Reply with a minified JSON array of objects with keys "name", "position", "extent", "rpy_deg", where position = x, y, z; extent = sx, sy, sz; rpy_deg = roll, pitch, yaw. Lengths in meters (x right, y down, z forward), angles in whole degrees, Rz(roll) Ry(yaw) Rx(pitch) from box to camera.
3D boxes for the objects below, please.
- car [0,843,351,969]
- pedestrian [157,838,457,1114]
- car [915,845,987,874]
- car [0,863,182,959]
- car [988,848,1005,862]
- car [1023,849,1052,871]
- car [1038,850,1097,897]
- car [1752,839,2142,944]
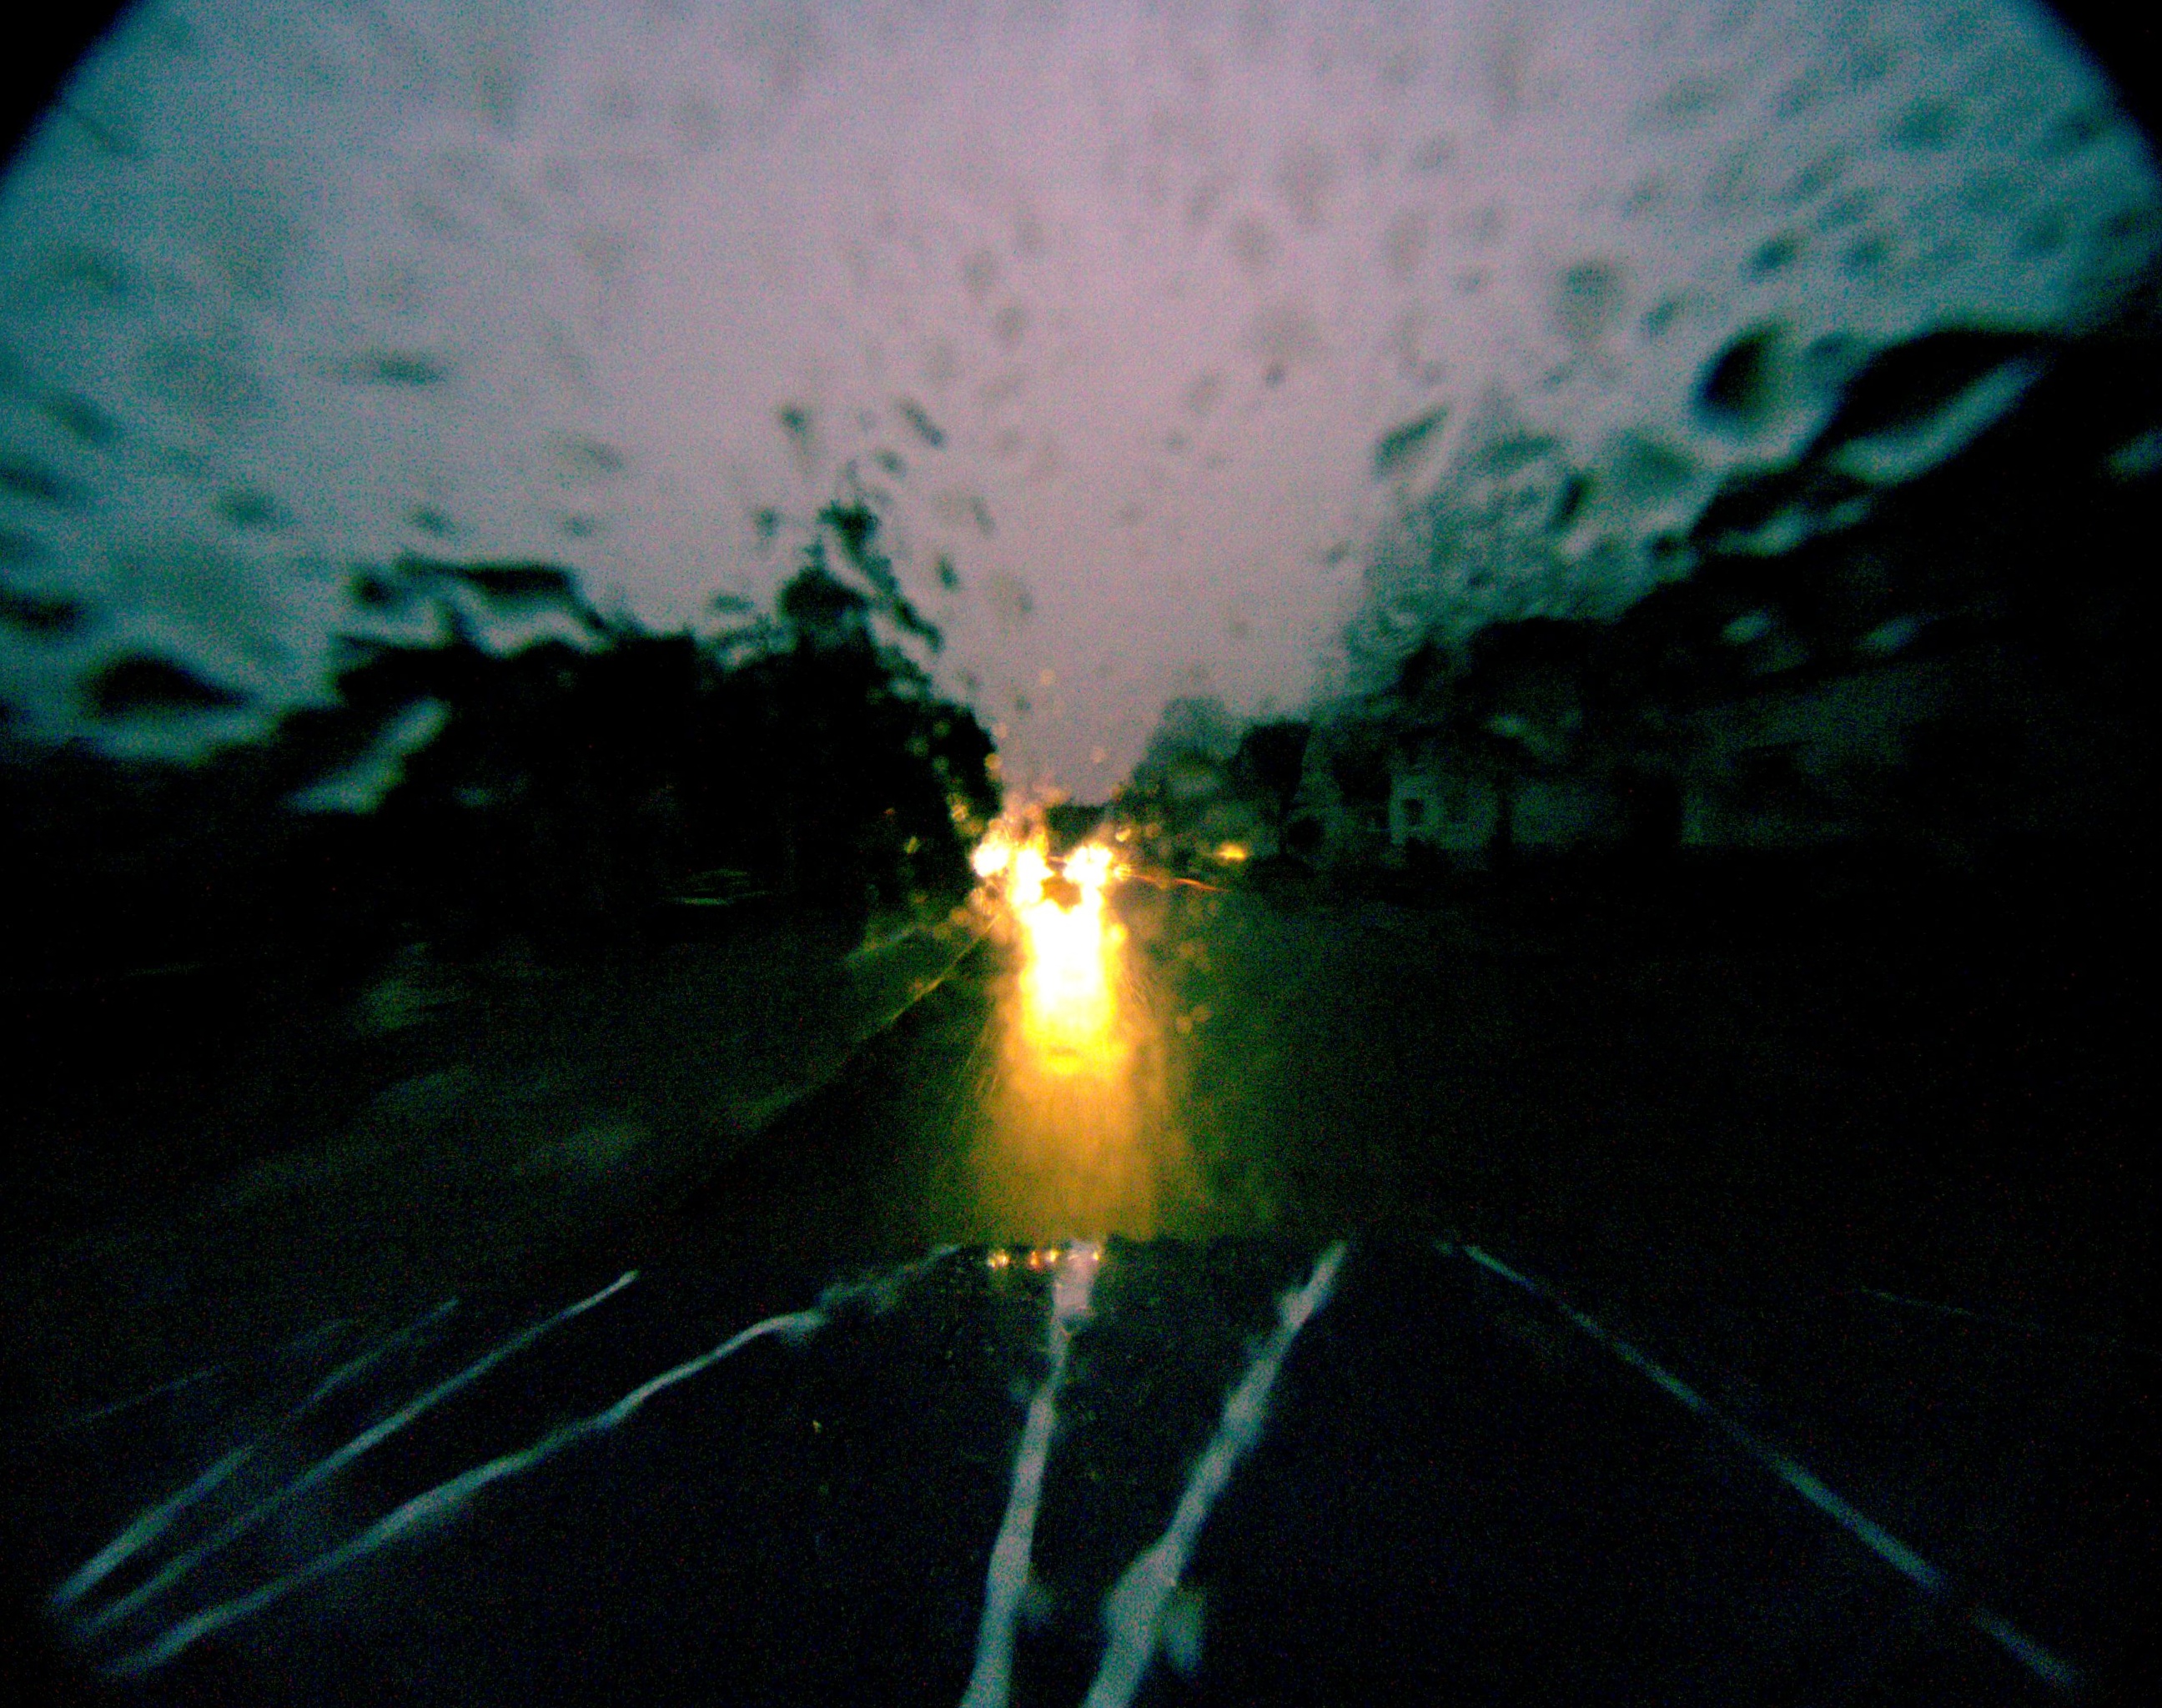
[{"name":"car","position":[-14.554,0.664,12.130],"extent":[1.947,1.653,4.227],"rpy_deg":[-1,1,-6]},{"name":"pedestrian","position":[-5.295,0.763,5.305],"extent":[0.990,1.732,1.056],"rpy_deg":[1,1,0]},{"name":"car","position":[-8.078,0.333,47.335],"extent":[4.337,1.722,1.998],"rpy_deg":[1,0,-10]},{"name":"car","position":[-17.065,0.886,11.664],"extent":[1.810,1.367,3.998],"rpy_deg":[-1,1,-2]},{"name":"car","position":[-10.398,0.104,93.332],"extent":[1.777,1.609,3.869],"rpy_deg":[-2,1,-8]},{"name":"car","position":[-3.626,0.481,62.685],"extent":[2.000,1.660,3.996],"rpy_deg":[-1,1,-10]},{"name":"car","position":[-0.527,0.671,27.806],"extent":[1.999,1.575,3.999],"rpy_deg":[0,0,-2]},{"name":"car","position":[13.402,0.472,12.209],"extent":[1.786,1.358,4.000],"rpy_deg":[-2,1,2]}]
